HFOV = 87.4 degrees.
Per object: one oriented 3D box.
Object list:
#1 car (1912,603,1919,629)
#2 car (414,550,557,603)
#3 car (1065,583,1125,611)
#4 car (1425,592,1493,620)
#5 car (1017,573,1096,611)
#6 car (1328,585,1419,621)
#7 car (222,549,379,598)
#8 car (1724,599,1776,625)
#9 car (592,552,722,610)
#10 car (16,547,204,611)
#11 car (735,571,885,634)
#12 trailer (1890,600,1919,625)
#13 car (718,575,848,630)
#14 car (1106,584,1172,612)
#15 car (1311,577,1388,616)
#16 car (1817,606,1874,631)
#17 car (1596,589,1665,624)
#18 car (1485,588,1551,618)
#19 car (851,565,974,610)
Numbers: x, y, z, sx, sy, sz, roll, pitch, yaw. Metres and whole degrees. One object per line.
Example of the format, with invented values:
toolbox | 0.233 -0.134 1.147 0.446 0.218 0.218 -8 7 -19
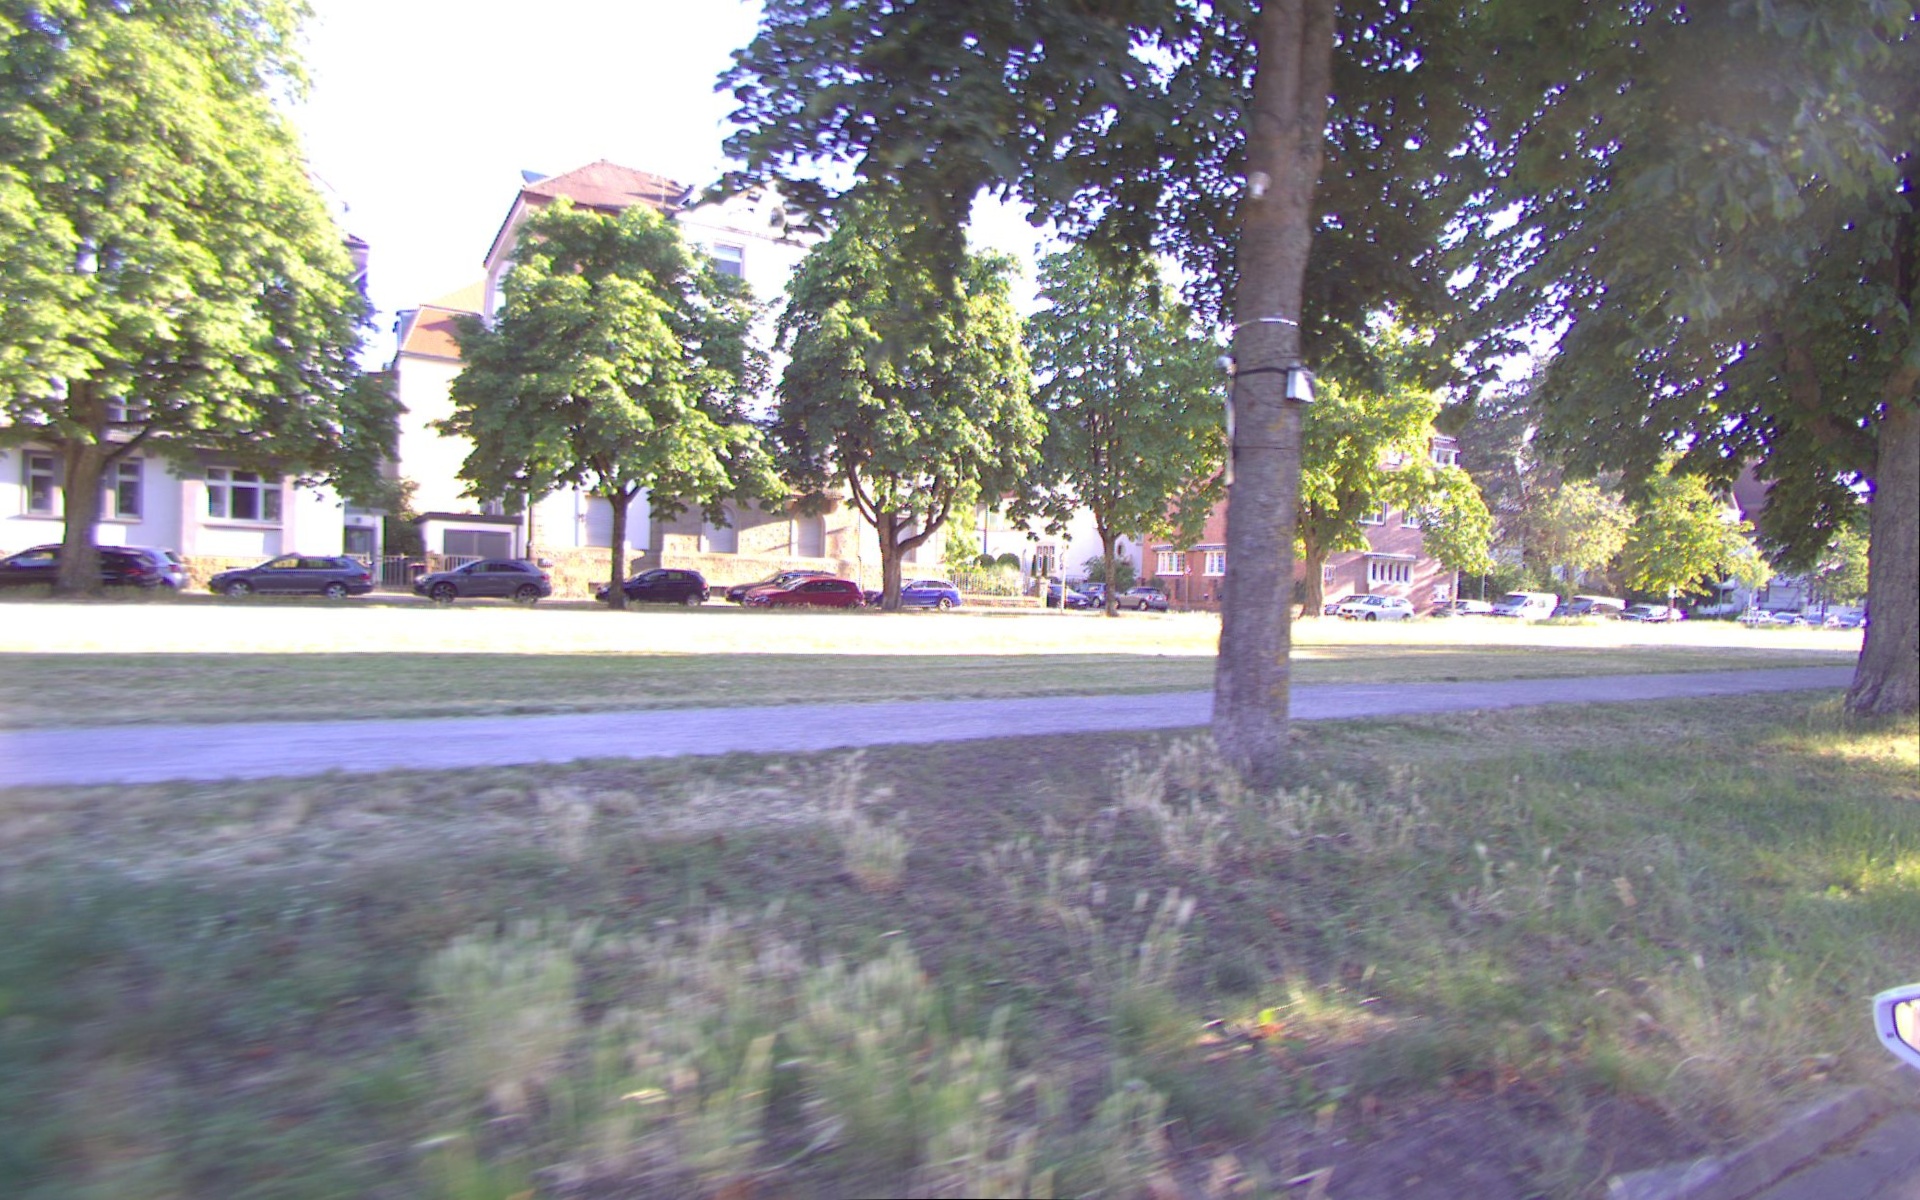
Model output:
car | 101.801 1.738 104.864 5.125 2.708 1.984 2 1 -30
car | -16.669 -0.821 35.336 4.379 1.674 1.983 1 2 -31
car | 8.599 -0.202 64.170 1.814 1.595 3.878 1 2 -30
car | 31.911 0.404 64.232 4.253 1.645 1.748 1 2 -30
car | 5.468 -0.495 57.830 1.979 1.626 4.833 12 -3 -28
car | 20.922 0.154 50.763 4.596 1.661 1.810 1 2 -30
car | -21.441 -0.864 32.868 4.119 1.448 1.984 1 2 -30
car | 65.618 1.007 83.433 3.952 2.040 2.023 2 -1 -29
car | -11.566 -0.715 38.358 4.379 2.041 1.983 1 2 -31
car | -25.405 -0.621 30.213 3.950 1.758 1.985 1 2 -28
car | -5.270 0.083 35.369 4.815 2.041 1.985 1 2 -28
trailer | 96.400 1.277 101.674 4.667 2.460 1.984 2 1 -30
car | -7.176 0.108 40.803 4.815 2.041 1.985 1 2 -28
car | 10.736 -0.138 60.450 1.842 1.506 3.969 1 2 -28
car | 22.413 -0.198 57.782 4.316 2.041 1.748 1 2 -30
car | 70.180 1.493 79.609 4.203 1.744 1.985 2 2 -29
car | 42.788 0.413 64.082 3.952 2.041 1.984 1 3 -30
car | 37.009 0.216 66.625 4.355 1.862 1.808 1 2 -30
car | -2.050 -0.524 43.662 4.948 1.773 1.984 1 2 -30
